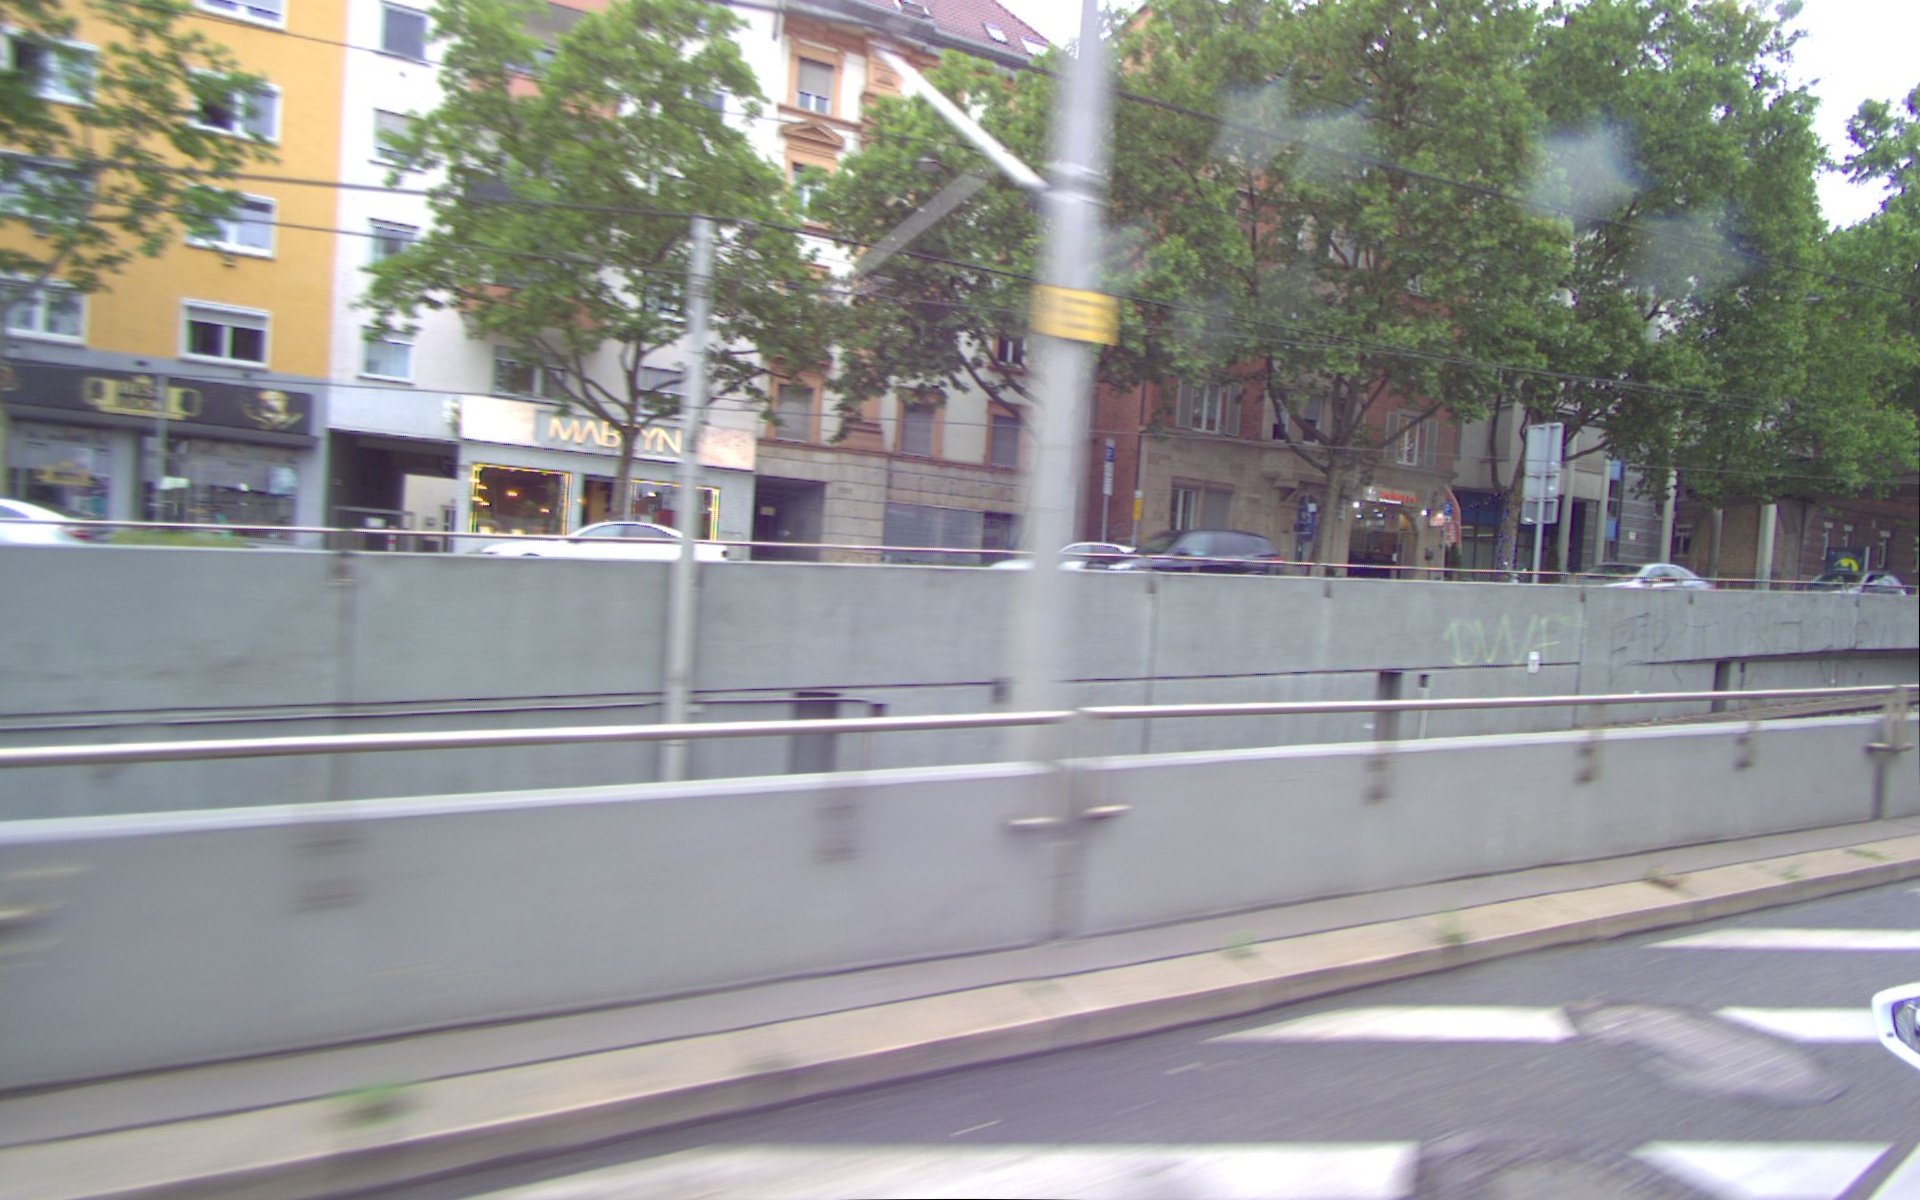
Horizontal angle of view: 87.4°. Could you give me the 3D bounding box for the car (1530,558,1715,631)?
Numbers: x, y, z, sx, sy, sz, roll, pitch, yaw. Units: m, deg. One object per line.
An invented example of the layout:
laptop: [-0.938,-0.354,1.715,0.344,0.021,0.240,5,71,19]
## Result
car: [15.483,-0.119,23.485,3.947,1.531,1.788,1,4,-26]

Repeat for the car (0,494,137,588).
car: [-17.053,-1.066,17.235,4.148,1.531,1.789,1,4,-24]

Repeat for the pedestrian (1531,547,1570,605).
pedestrian: [21.640,-0.891,36.808,0.921,2.041,0.667,2,4,-22]

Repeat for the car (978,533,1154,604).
car: [2.697,-0.805,25.521,4.055,1.633,1.789,1,4,-25]

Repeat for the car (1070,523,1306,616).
car: [5.113,-0.669,22.554,4.897,1.878,1.951,1,4,-23]

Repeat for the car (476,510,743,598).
car: [-7.388,-0.960,21.351,5.127,1.623,1.921,1,4,-24]

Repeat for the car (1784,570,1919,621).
car: [29.477,-0.148,33.190,4.050,1.531,1.789,1,4,-24]
